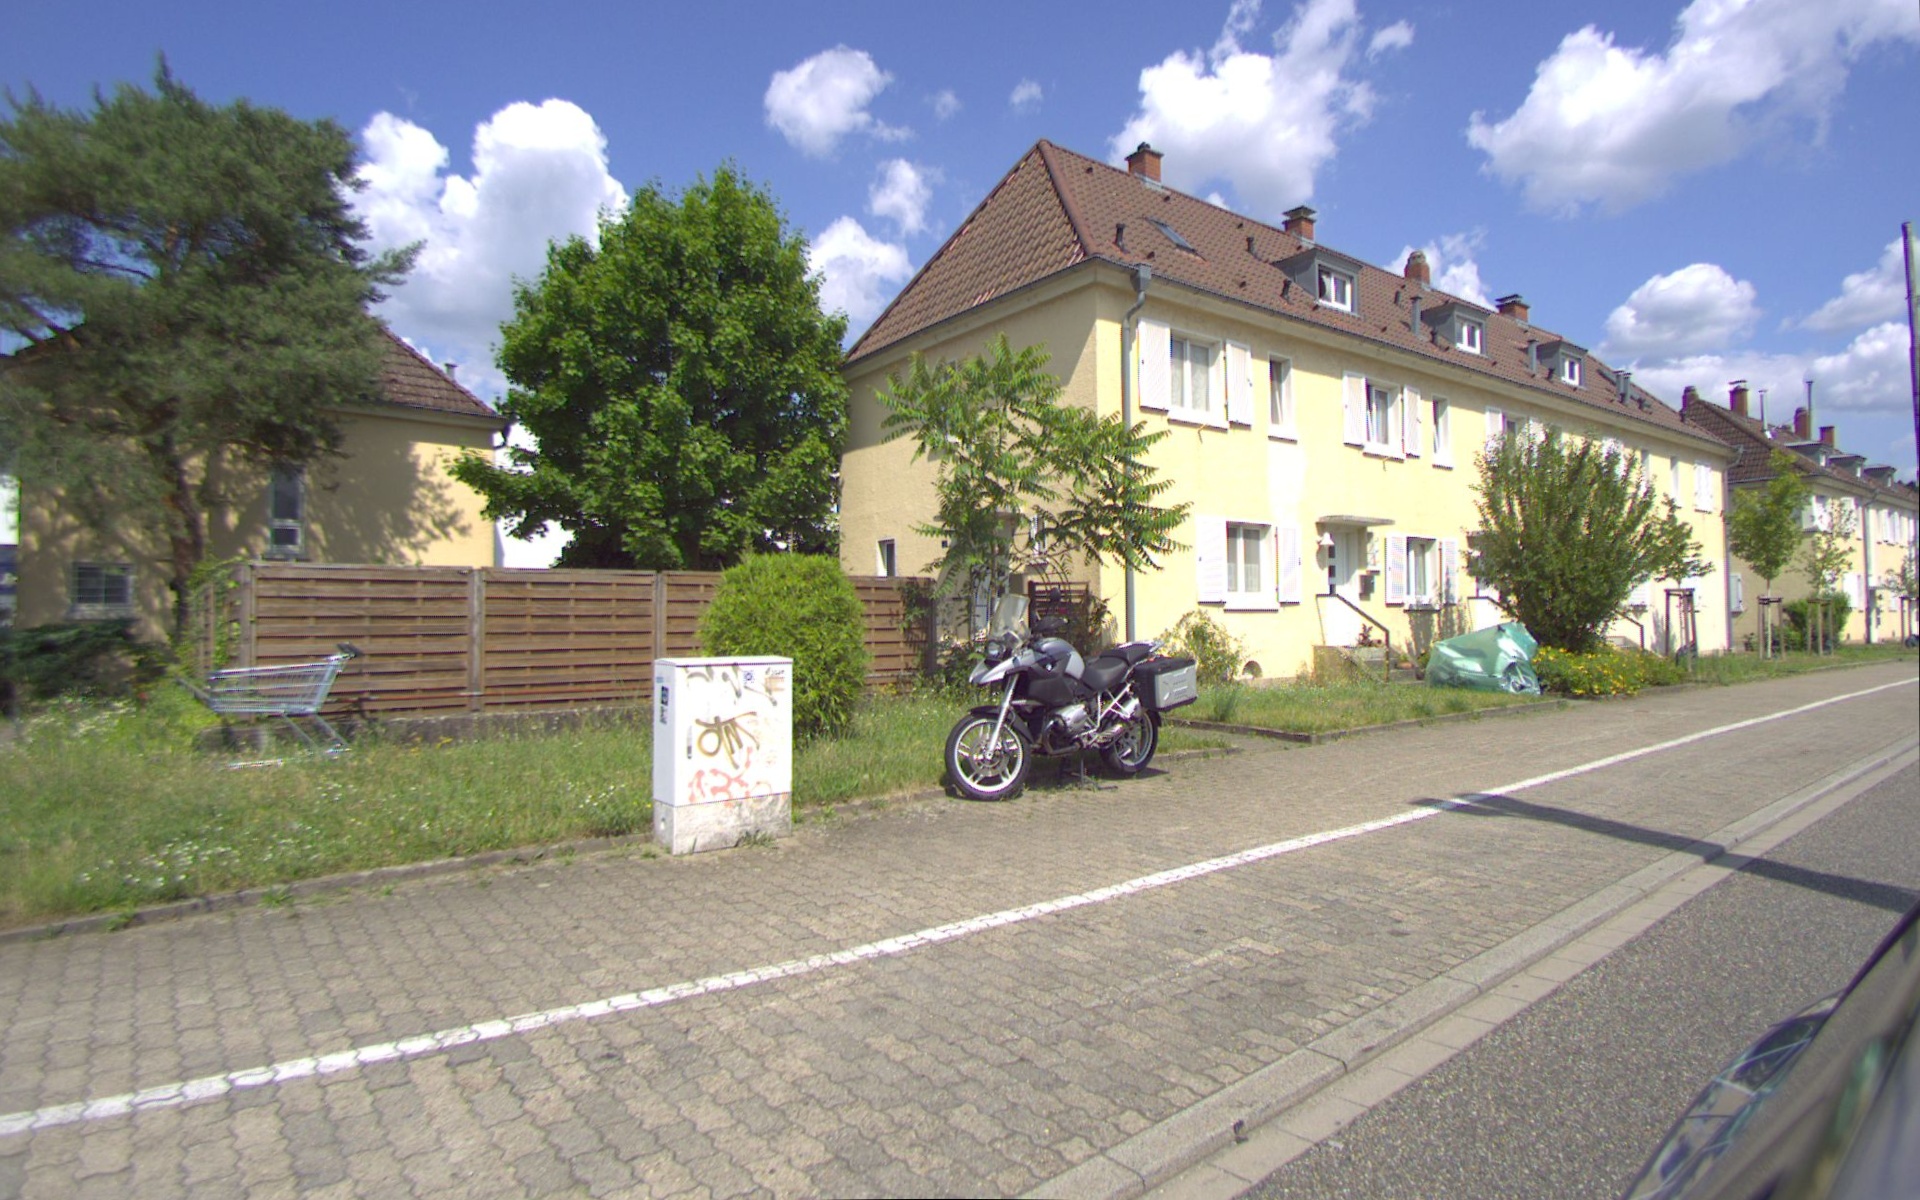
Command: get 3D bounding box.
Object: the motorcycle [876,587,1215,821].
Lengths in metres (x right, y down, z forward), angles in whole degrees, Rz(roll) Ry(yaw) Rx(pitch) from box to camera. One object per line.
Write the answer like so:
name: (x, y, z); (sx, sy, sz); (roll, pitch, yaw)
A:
motorcycle: (0.713, 0.658, 7.695); (2.538, 1.488, 1.050); (0, 1, -39)

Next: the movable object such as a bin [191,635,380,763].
movable object such as a bin: (-5.541, 0.782, 8.361); (1.263, 0.948, 0.571); (0, -2, -35)

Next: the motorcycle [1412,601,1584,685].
motorcycle: (8.430, 0.655, 15.965); (0.838, 1.212, 2.234); (0, -1, -36)
